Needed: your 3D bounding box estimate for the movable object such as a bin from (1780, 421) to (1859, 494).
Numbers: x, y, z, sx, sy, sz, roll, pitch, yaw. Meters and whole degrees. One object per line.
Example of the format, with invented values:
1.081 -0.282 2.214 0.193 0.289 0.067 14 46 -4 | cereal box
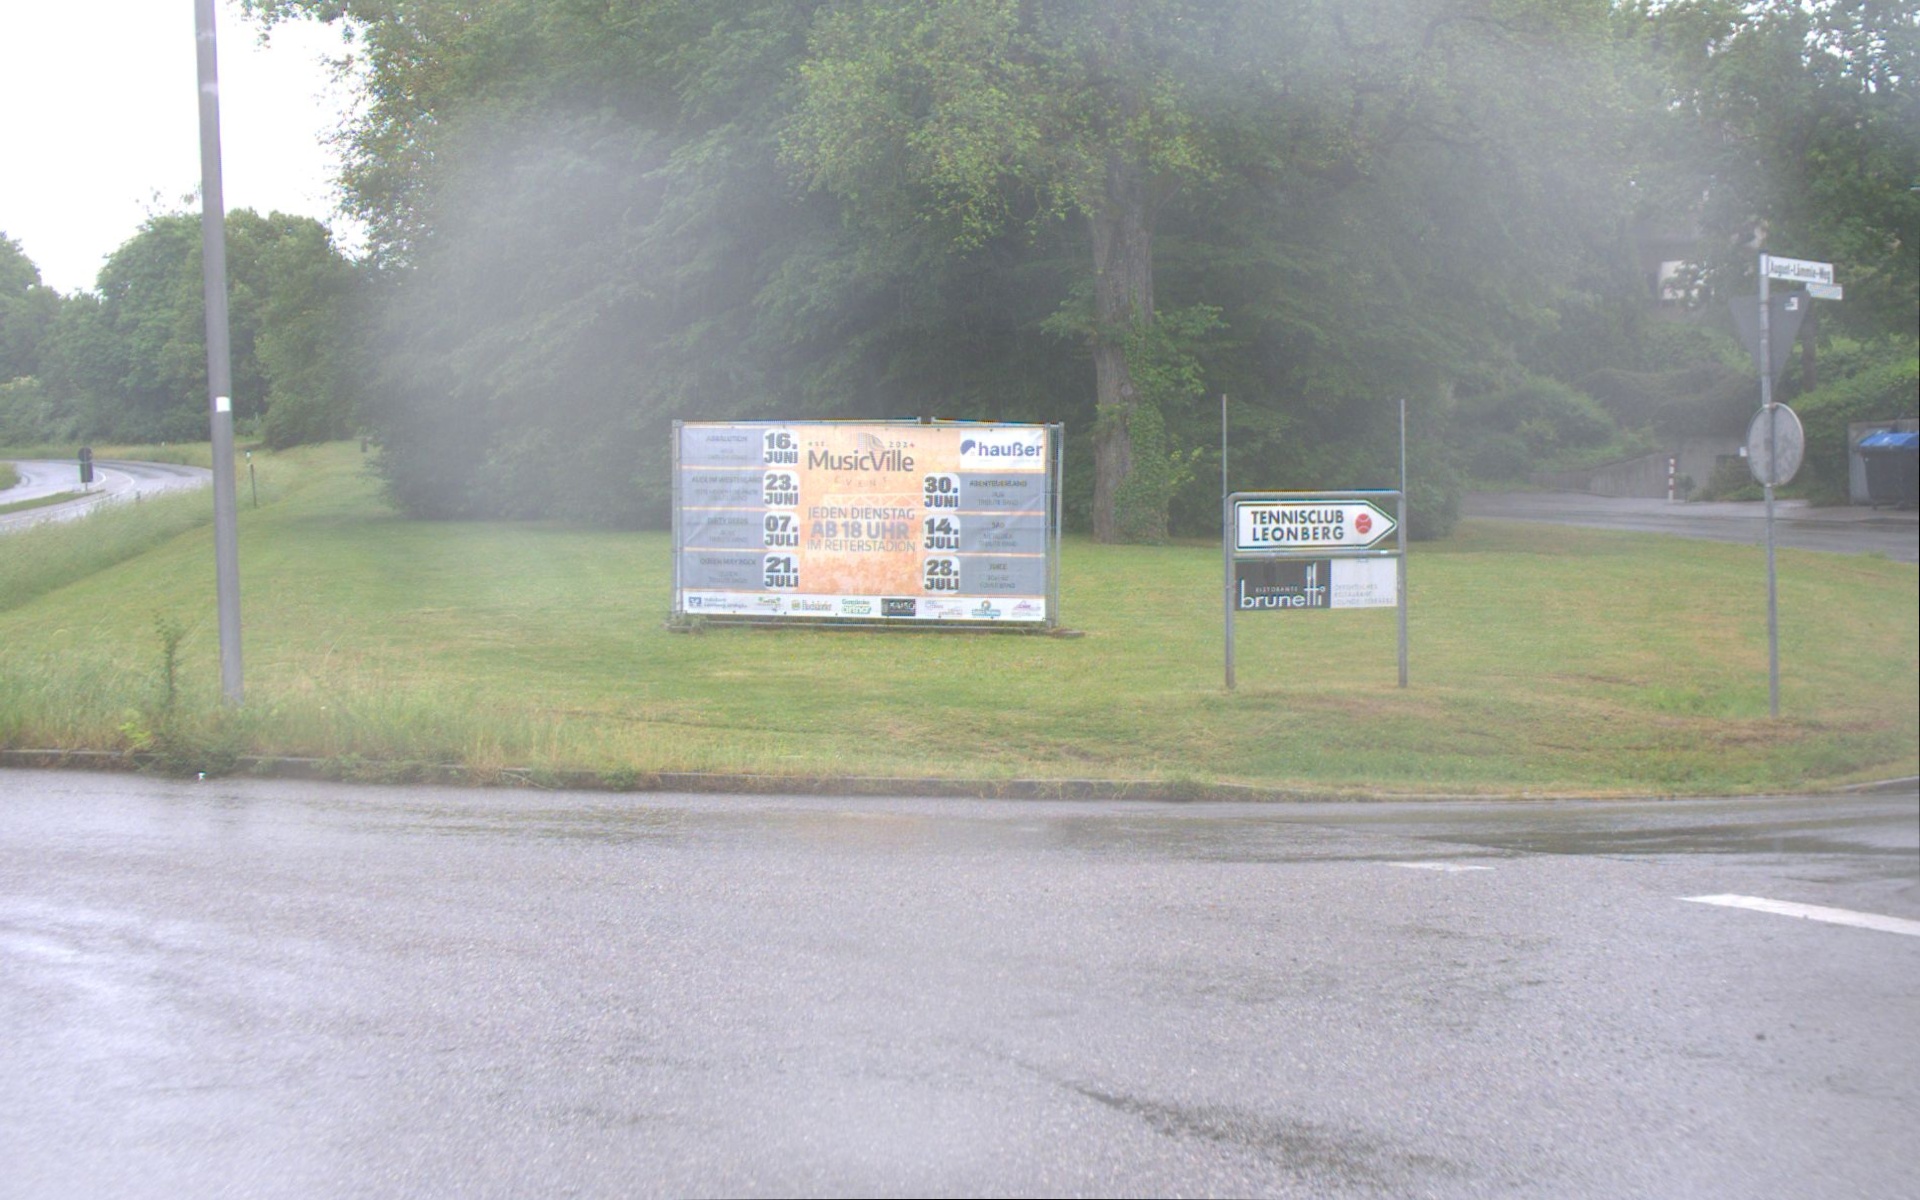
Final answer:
17.250 -2.863 69.021 1.194 1.432 1.429 -1 2 -2 | movable object such as a bin
